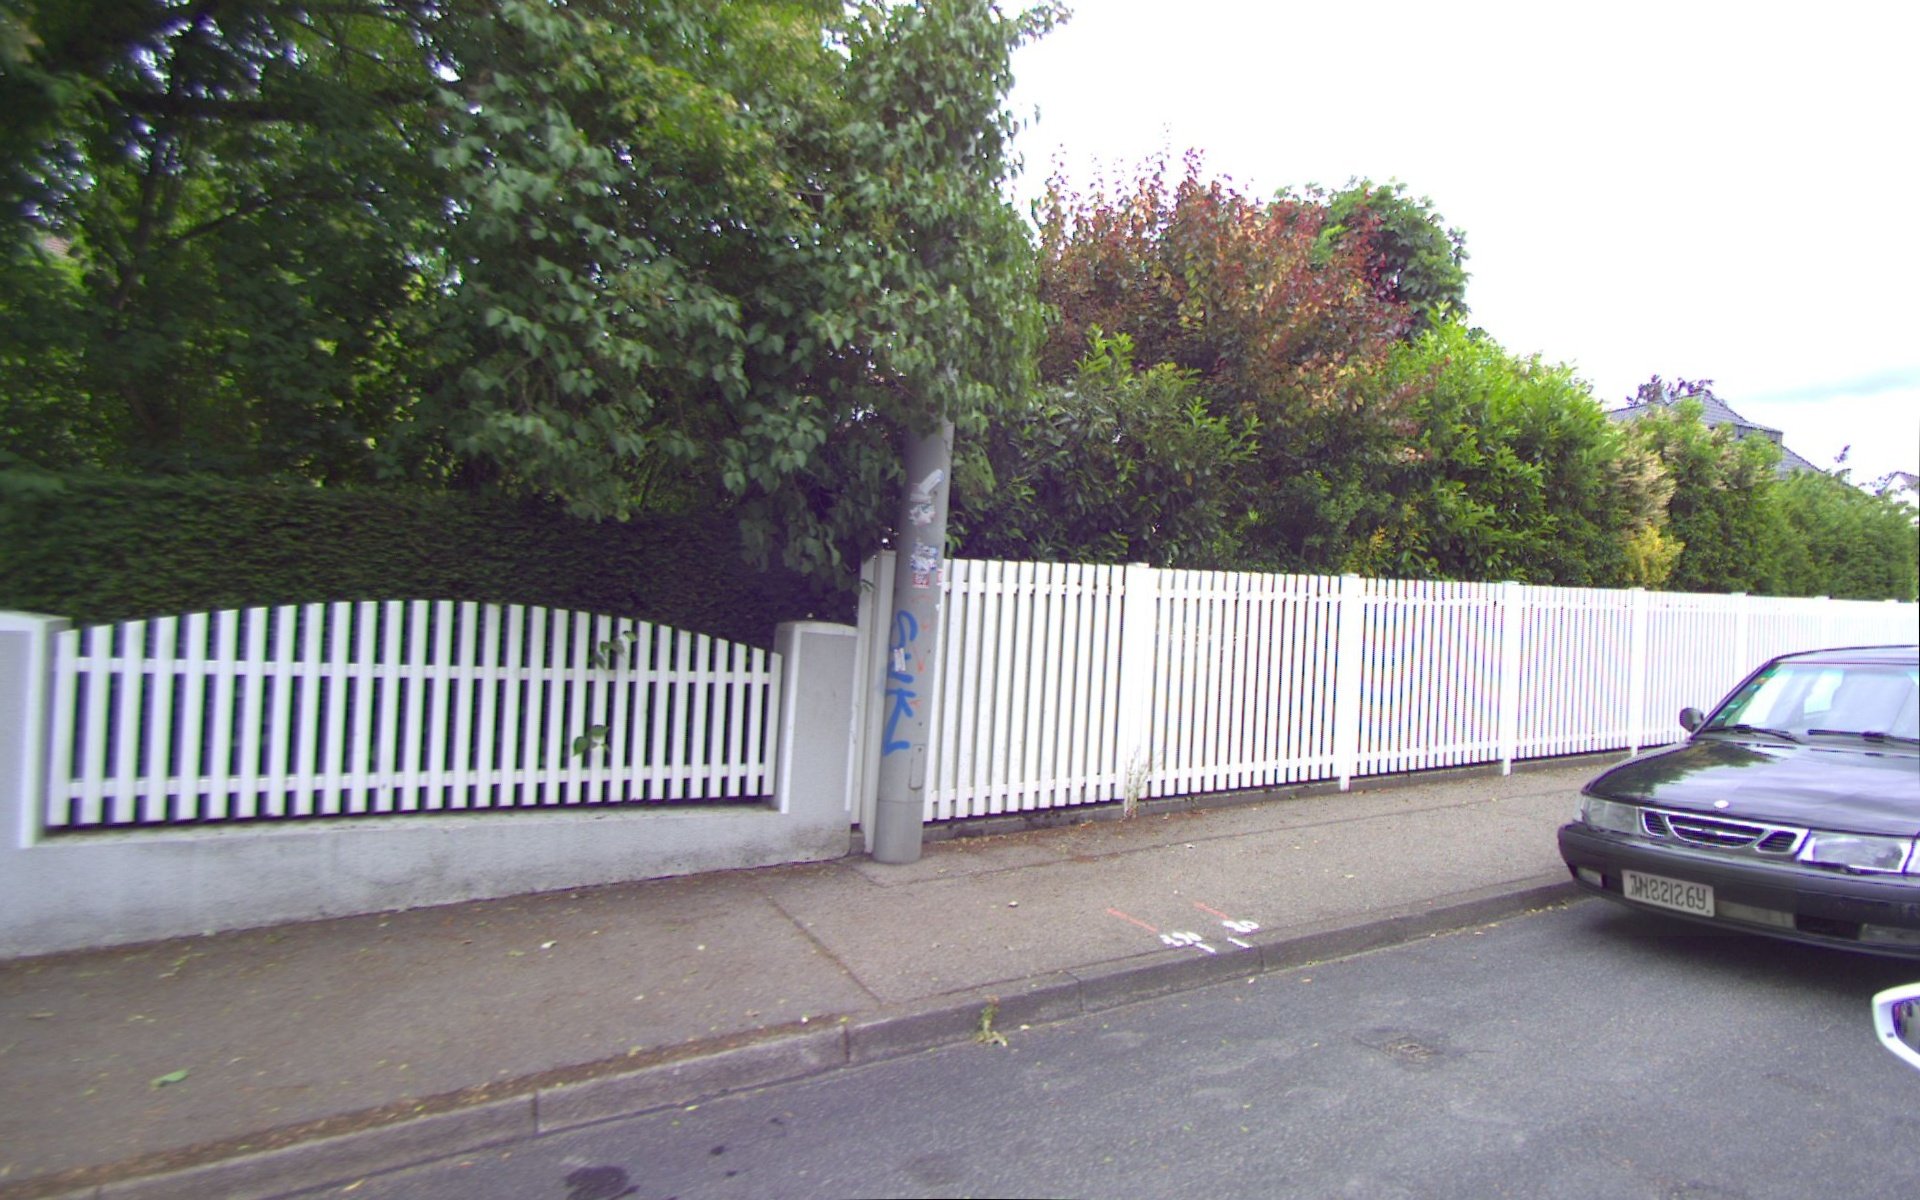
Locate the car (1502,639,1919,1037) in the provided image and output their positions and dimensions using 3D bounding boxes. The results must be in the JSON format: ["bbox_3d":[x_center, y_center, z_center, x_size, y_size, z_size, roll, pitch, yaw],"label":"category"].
[{"bbox_3d":[5.104,0.948,5.417,4.492,1.440,1.634,1,-3,-28],"label":"car"}]
